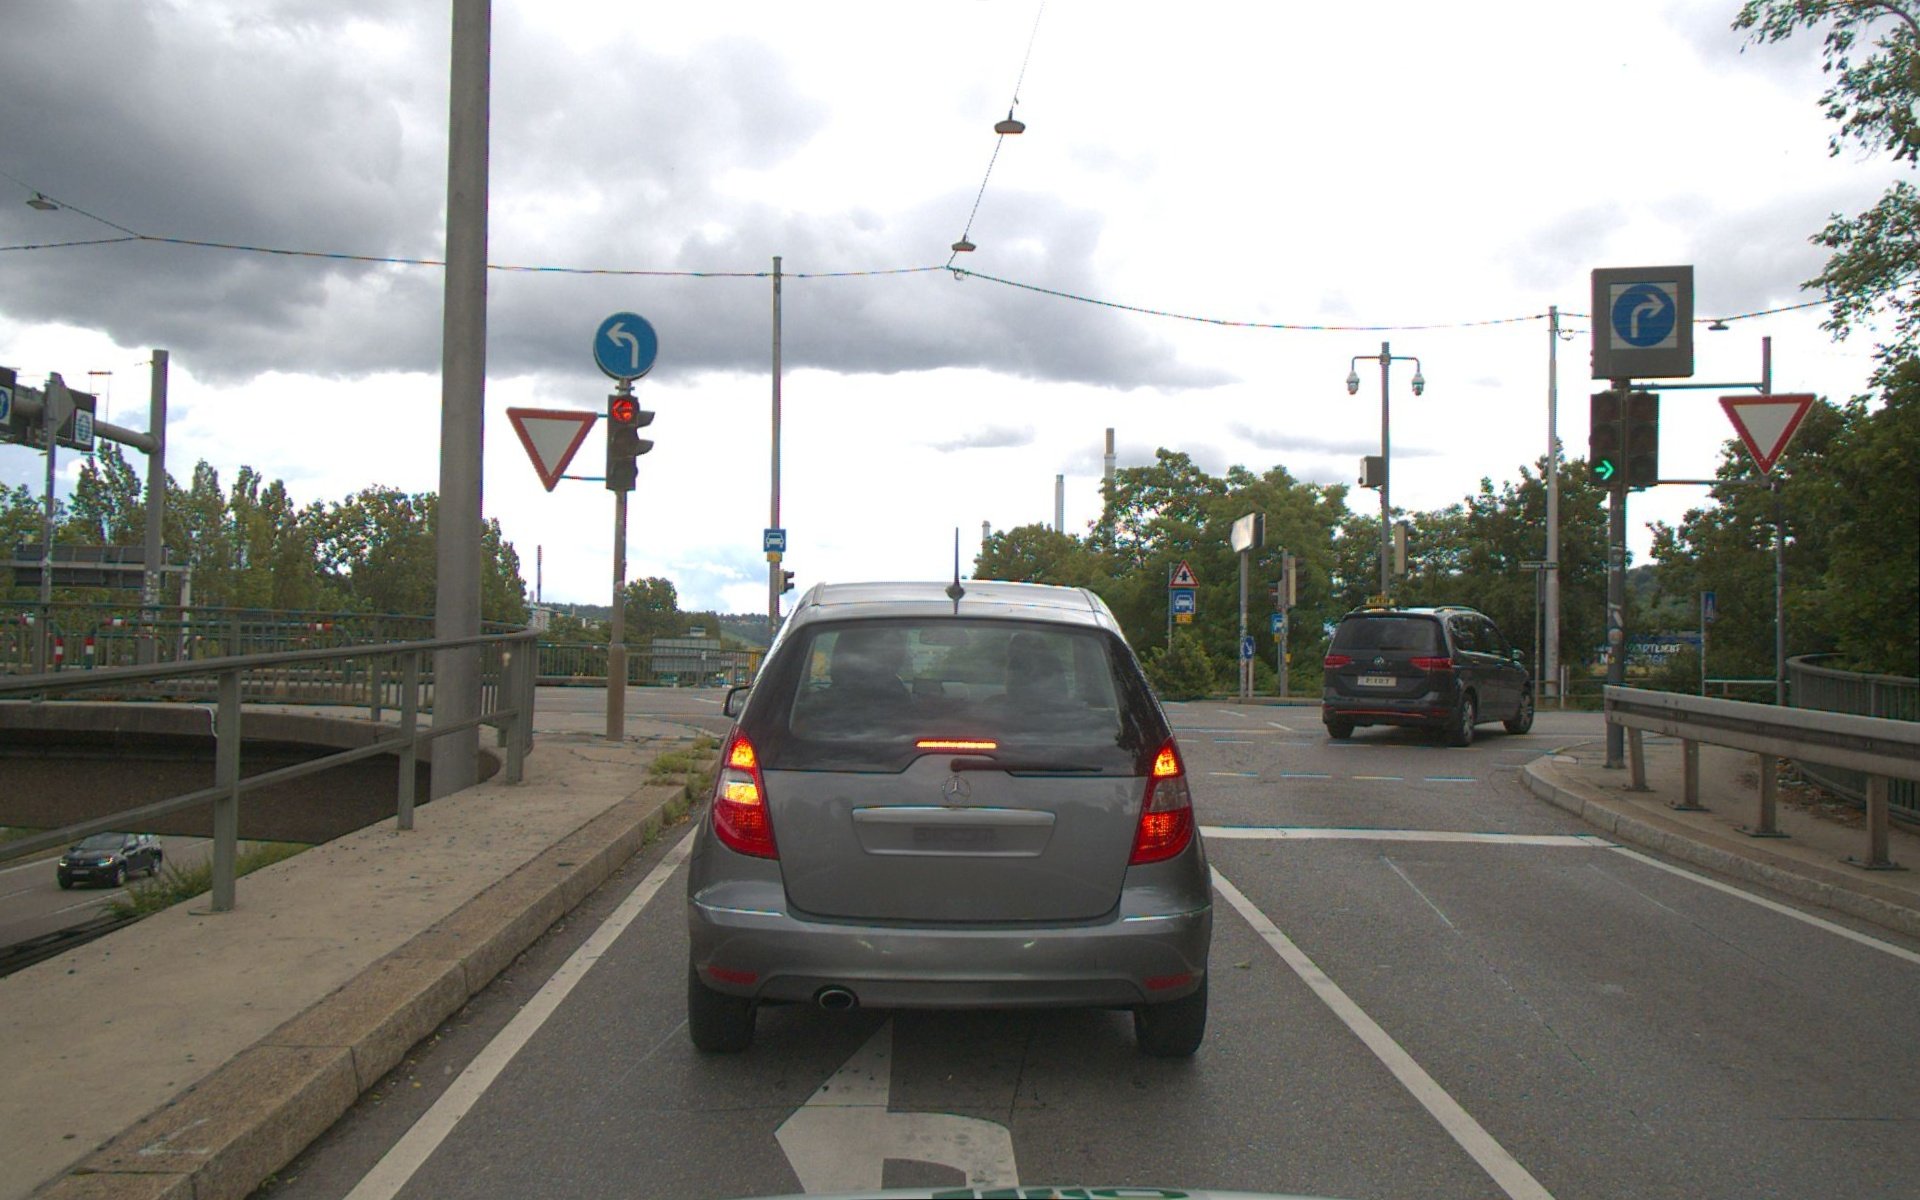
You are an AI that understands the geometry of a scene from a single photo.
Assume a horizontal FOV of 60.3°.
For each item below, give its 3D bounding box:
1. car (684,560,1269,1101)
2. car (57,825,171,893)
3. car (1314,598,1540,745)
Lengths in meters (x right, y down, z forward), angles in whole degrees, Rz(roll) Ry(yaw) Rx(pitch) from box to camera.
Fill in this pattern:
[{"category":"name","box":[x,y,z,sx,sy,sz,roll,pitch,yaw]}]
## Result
[{"category":"car","box":[0.033,0.689,6.655,1.704,1.570,3.540,1,0,-1]},{"category":"car","box":[-26.792,8.174,52.505,1.631,1.649,3.998,-1,-2,-1]},{"category":"car","box":[6.131,0.848,21.395,1.763,1.682,4.140,1,0,32]}]
